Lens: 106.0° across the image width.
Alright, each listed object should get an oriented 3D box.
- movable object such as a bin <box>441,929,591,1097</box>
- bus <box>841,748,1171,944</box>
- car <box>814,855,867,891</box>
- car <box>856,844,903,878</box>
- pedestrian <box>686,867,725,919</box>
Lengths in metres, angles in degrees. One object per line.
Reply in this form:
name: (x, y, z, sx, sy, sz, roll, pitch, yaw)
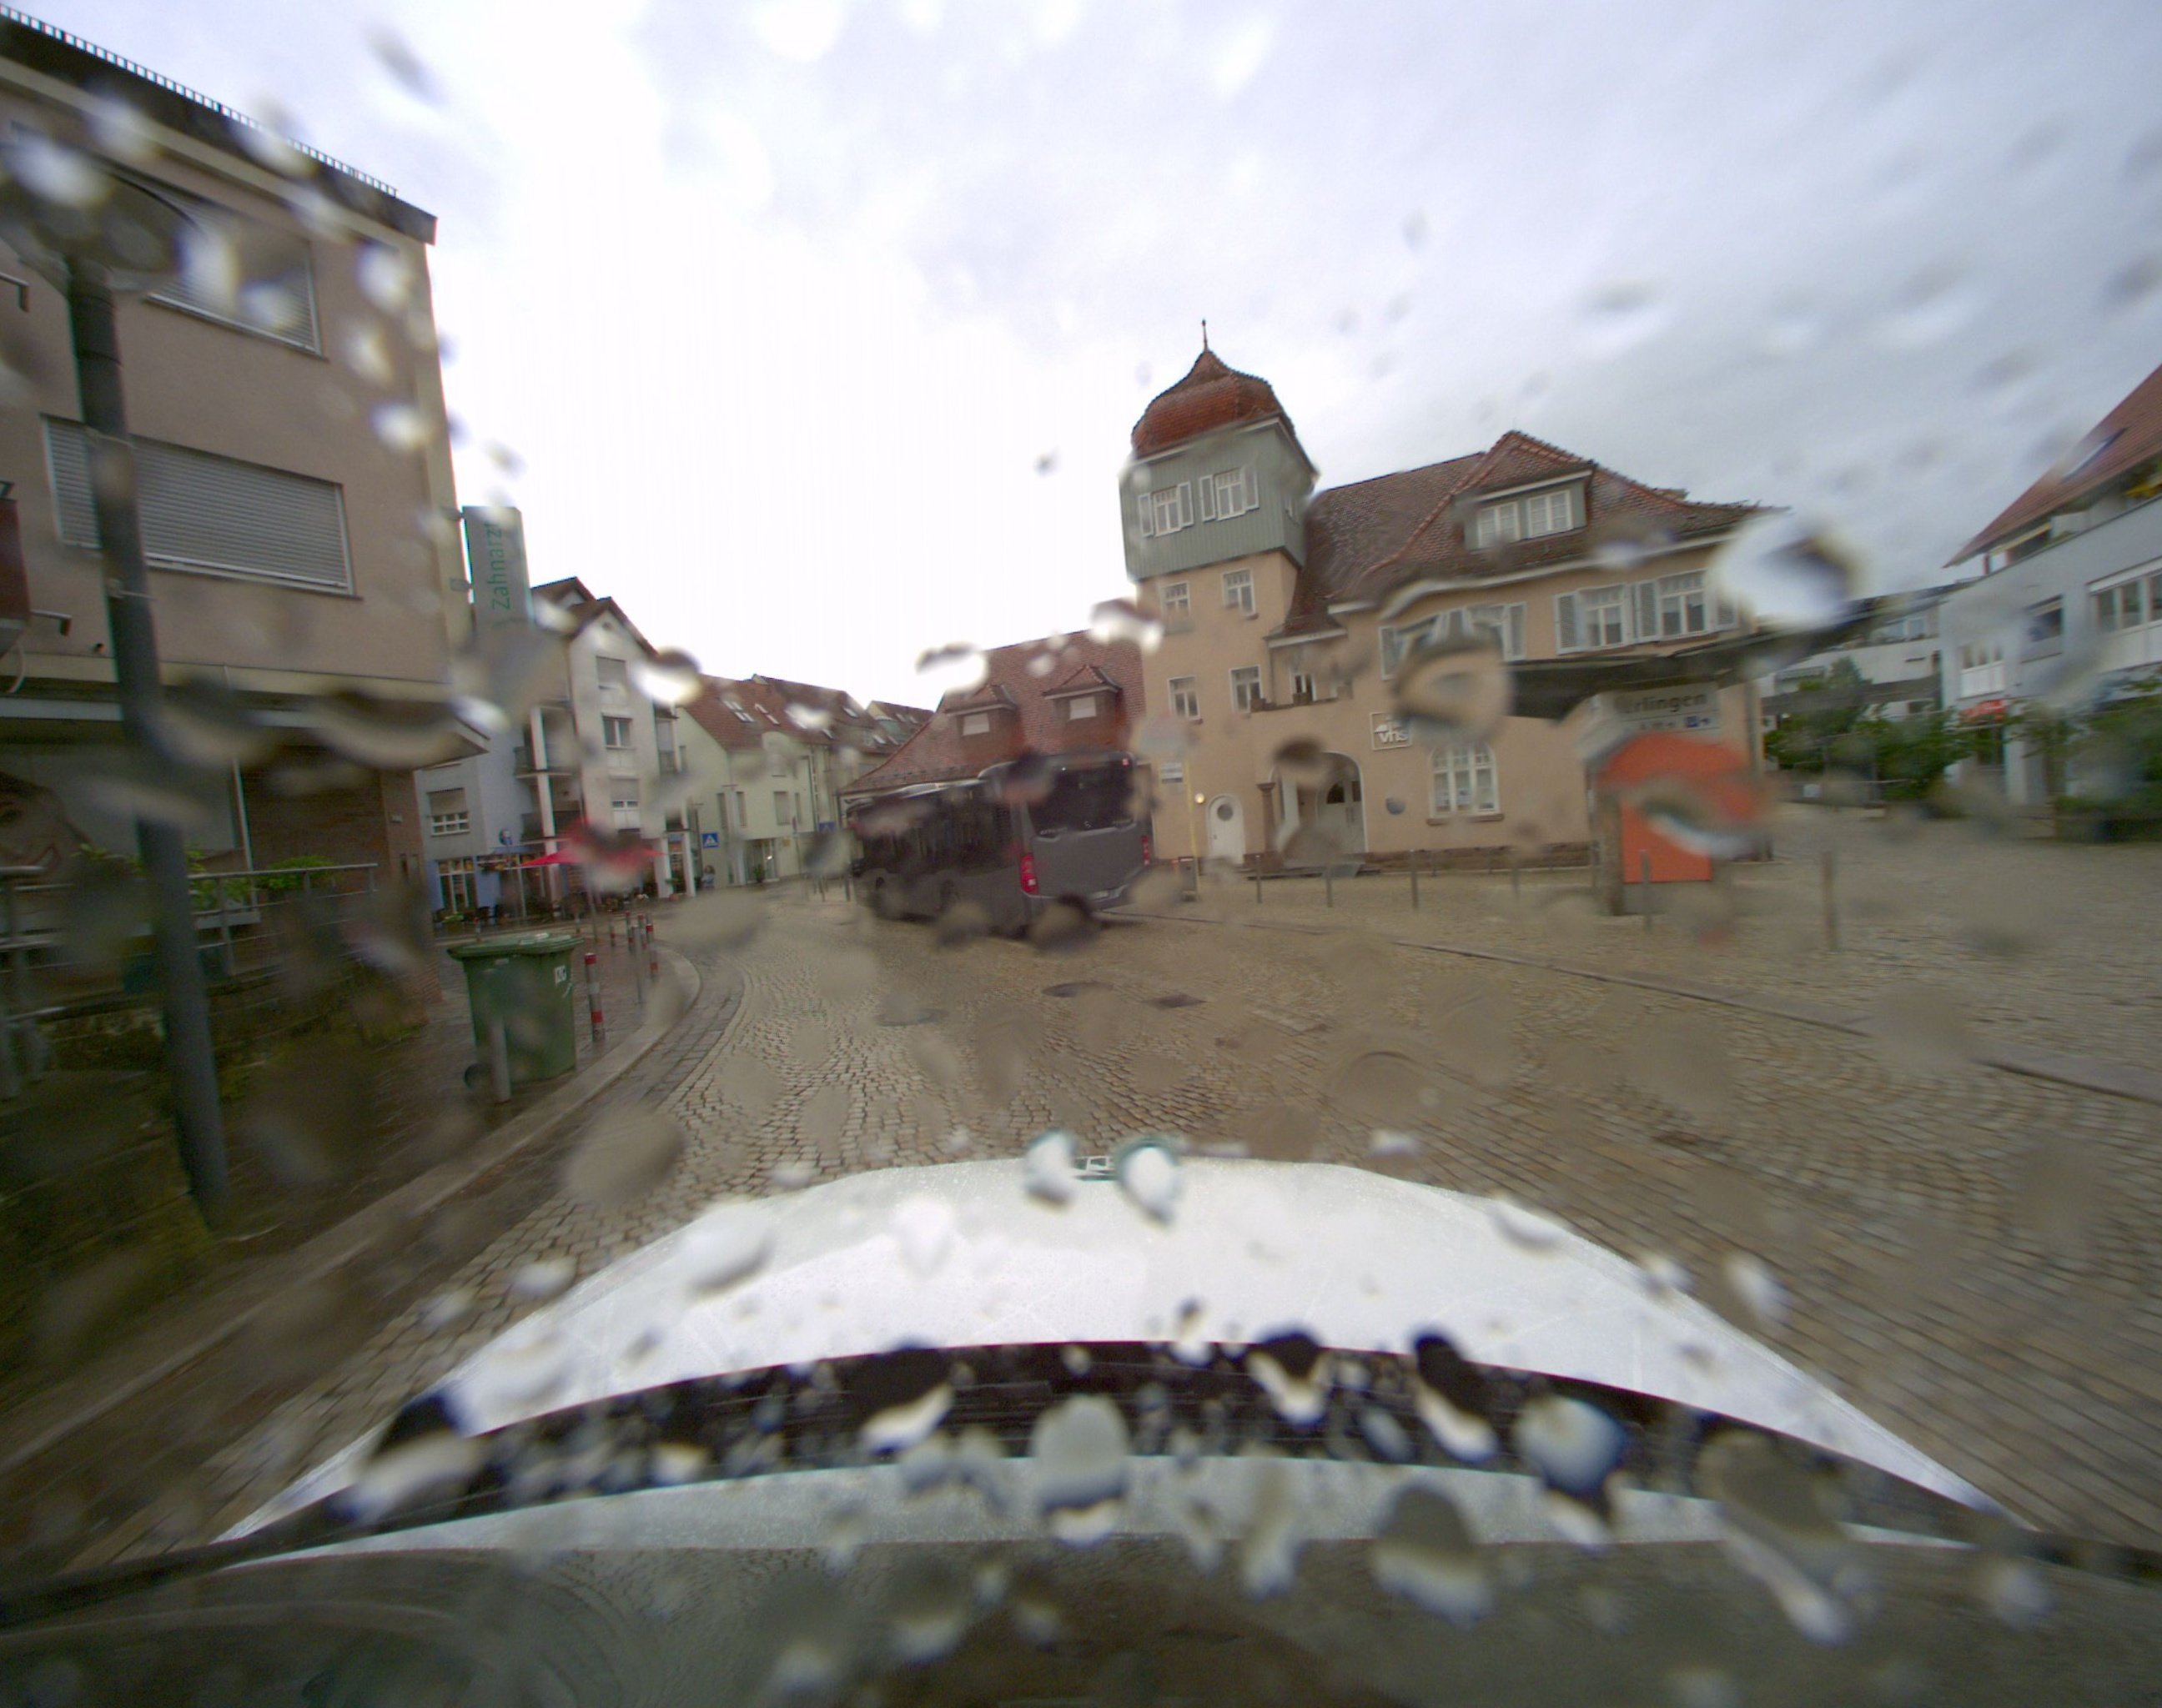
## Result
movable object such as a bin: (-4.226, 1.165, 6.137, 0.678, 1.086, 0.538, -4, 2, -9)
bus: (-2.411, -0.122, 17.965, 2.798, 2.989, 10.452, -6, 2, -31)
car: (-15.645, 1.190, 53.173, 1.986, 1.863, 4.003, -4, 4, 2)
car: (-14.536, 0.464, 59.106, 1.984, 2.013, 4.007, -4, 4, 5)
pedestrian: (-13.295, 1.386, 28.855, 0.754, 1.732, 0.789, -2, 4, 26)
